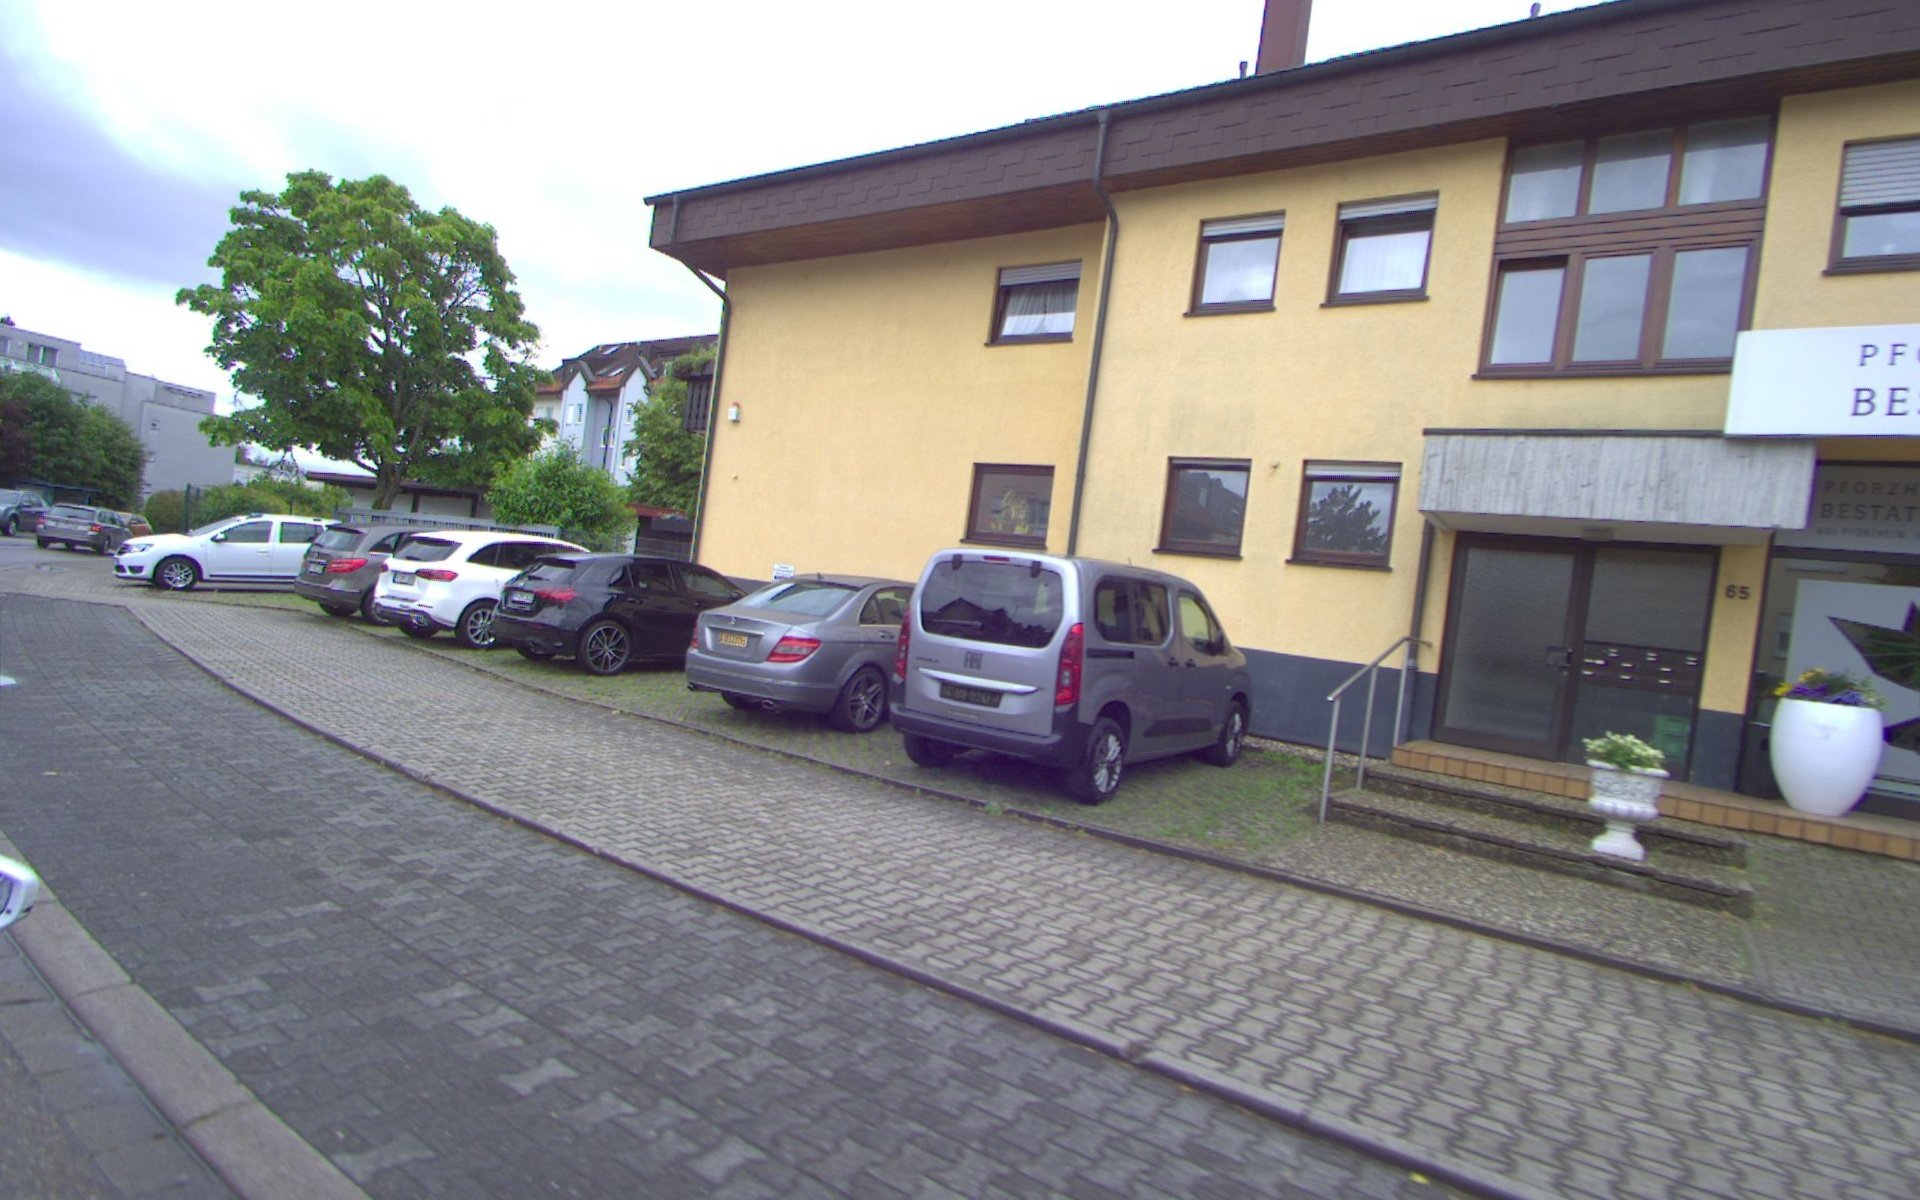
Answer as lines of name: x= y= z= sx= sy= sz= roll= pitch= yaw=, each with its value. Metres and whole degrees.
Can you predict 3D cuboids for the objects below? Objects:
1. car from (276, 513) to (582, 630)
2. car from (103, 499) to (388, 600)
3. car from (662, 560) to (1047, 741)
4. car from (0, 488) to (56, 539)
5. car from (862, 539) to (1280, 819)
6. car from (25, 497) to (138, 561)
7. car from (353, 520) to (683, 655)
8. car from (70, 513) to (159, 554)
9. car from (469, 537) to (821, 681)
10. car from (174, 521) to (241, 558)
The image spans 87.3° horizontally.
car: x=-8.639 y=-0.411 z=16.680 sx=1.875 sy=1.618 sz=4.040 roll=6 pitch=3 yaw=35
car: x=-14.085 y=-0.950 z=20.026 sx=1.742 sy=1.618 sz=4.327 roll=7 pitch=3 yaw=42
car: x=-0.886 y=0.465 z=10.862 sx=1.668 sy=1.442 sz=4.358 roll=6 pitch=2 yaw=34
car: x=-35.066 y=-3.219 z=36.628 sx=1.884 sy=1.677 sz=4.240 roll=8 pitch=0 yaw=-25
car: x=1.256 y=0.555 z=9.102 sx=1.874 sy=1.805 sz=4.291 roll=6 pitch=2 yaw=34
car: x=-27.895 y=-2.202 z=32.084 sx=1.751 sy=1.526 sz=3.974 roll=8 pitch=-3 yaw=-28
car: x=-6.347 y=-0.151 z=14.849 sx=1.865 sy=1.618 sz=4.041 roll=6 pitch=2 yaw=34
car: x=-39.300 y=-3.060 z=46.869 sx=1.882 sy=1.456 sz=4.095 roll=7 pitch=-1 yaw=-22
car: x=-3.992 y=0.125 z=13.285 sx=1.876 sy=1.510 sz=4.037 roll=7 pitch=3 yaw=38
car: x=-42.546 y=-3.374 z=56.975 sx=1.882 sy=1.677 sz=4.095 roll=7 pitch=-1 yaw=-22
